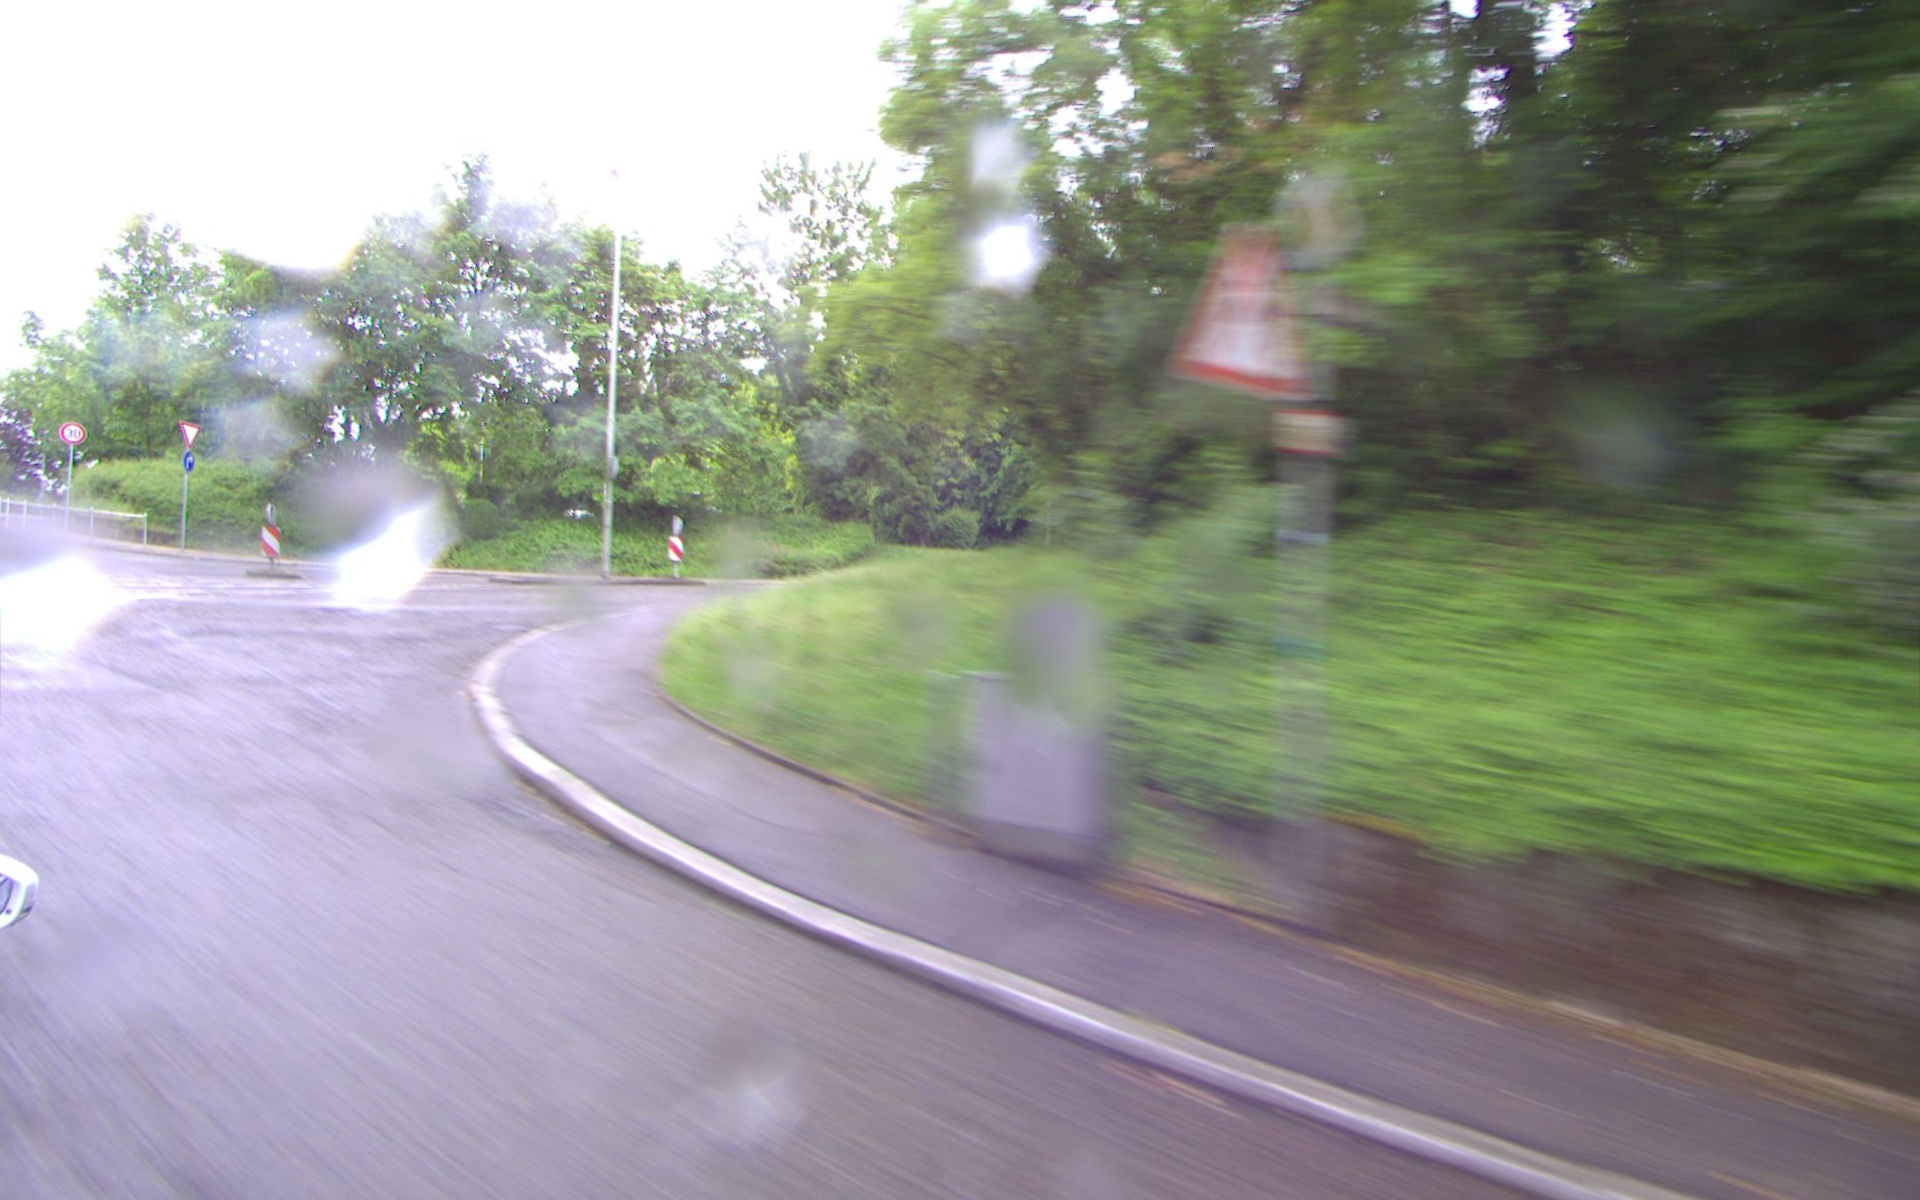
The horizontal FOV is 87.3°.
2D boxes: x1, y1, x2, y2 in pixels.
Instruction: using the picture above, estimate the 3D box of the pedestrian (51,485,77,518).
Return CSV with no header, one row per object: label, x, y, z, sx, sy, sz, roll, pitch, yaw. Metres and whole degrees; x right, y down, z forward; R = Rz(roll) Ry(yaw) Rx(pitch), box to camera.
pedestrian,-50.125,-5.525,56.287,1.078,1.746,1.152,0,4,-43
